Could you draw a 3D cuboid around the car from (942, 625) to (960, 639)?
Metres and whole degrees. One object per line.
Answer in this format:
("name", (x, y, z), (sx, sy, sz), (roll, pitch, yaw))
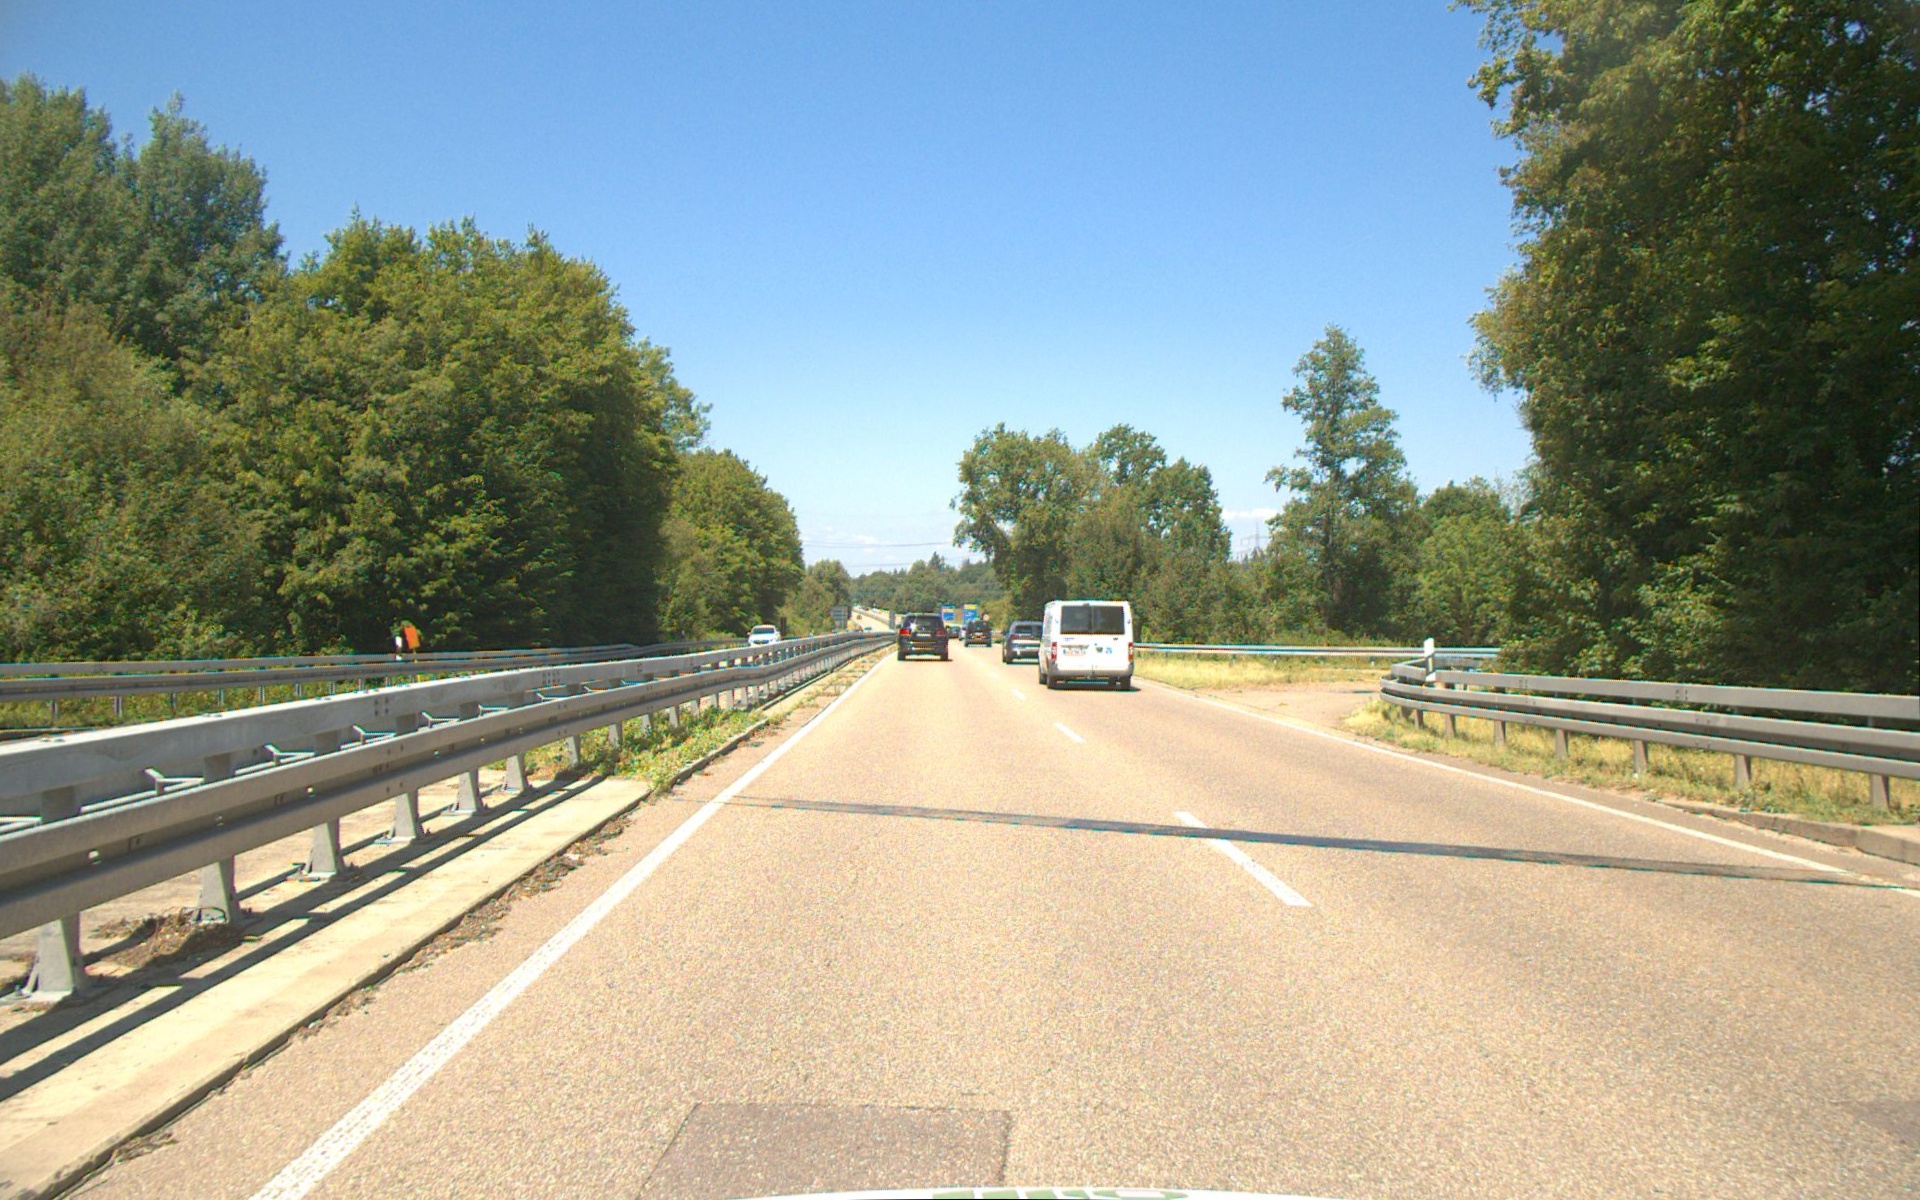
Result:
("car", (-1.017, 3.418, 177.389), (1.783, 1.439, 3.998), (-2, 0, -2))

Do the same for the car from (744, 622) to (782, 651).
("car", (-11.950, 2.187, 100.507), (1.782, 1.627, 4.839), (-2, -1, -2))

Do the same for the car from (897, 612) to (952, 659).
("car", (-1.372, 1.318, 62.499), (1.954, 1.683, 3.997), (0, 0, -3))

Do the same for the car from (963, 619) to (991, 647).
("car", (1.161, 2.232, 113.646), (1.744, 1.848, 4.211), (-1, 0, -2))

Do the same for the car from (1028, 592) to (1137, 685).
("car", (2.816, 0.916, 39.115), (1.965, 2.024, 5.031), (0, -2, -3))

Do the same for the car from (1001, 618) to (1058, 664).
("car", (2.498, 1.457, 60.270), (1.749, 1.580, 4.017), (-1, 0, -3))
